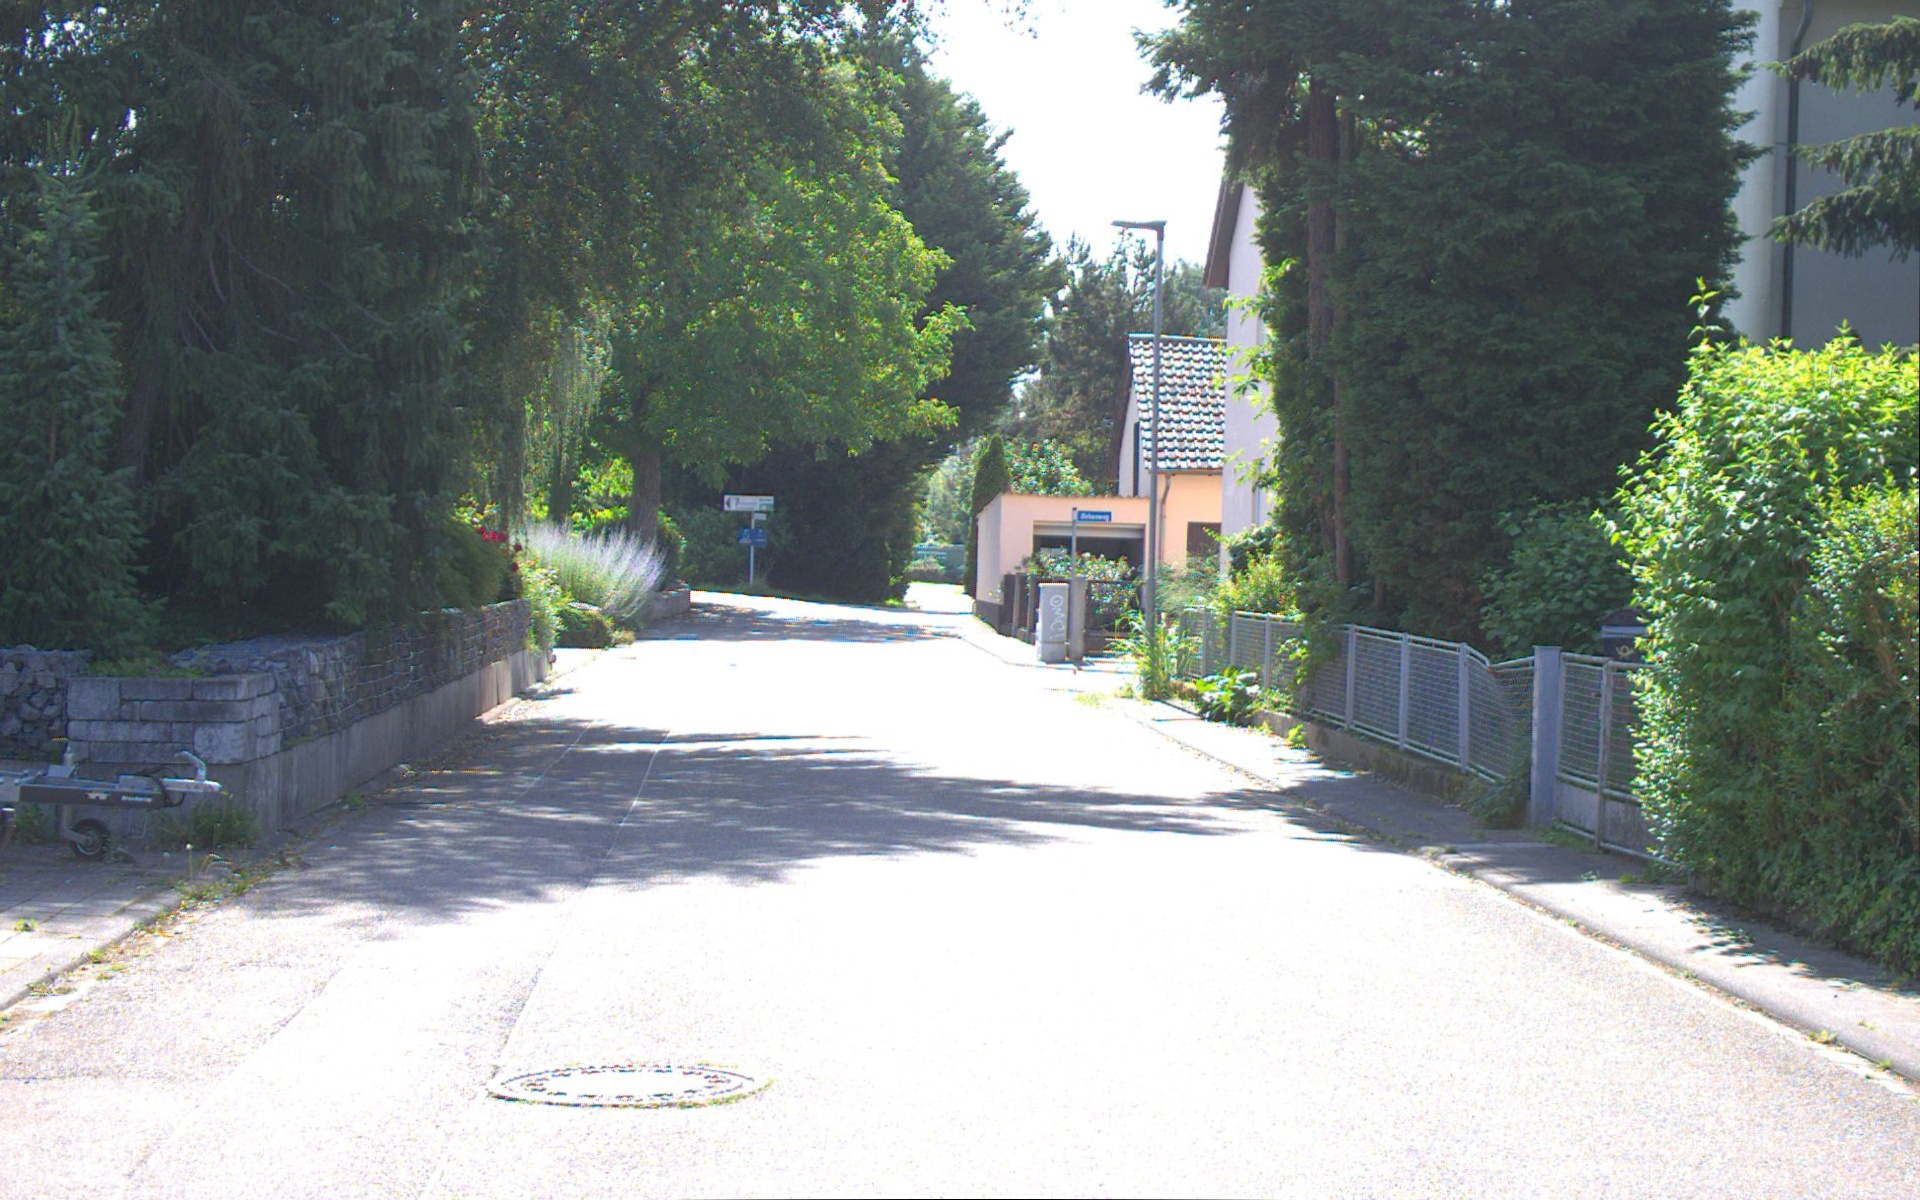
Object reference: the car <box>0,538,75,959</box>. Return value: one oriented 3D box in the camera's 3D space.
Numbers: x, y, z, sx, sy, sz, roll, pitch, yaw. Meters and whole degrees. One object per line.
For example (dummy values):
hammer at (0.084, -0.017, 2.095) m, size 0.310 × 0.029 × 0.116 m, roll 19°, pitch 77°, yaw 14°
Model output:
car at (-5.189, 0.446, 12.096) m, size 3.734 × 1.441 × 1.757 m, roll 2°, pitch 1°, yaw -5°
